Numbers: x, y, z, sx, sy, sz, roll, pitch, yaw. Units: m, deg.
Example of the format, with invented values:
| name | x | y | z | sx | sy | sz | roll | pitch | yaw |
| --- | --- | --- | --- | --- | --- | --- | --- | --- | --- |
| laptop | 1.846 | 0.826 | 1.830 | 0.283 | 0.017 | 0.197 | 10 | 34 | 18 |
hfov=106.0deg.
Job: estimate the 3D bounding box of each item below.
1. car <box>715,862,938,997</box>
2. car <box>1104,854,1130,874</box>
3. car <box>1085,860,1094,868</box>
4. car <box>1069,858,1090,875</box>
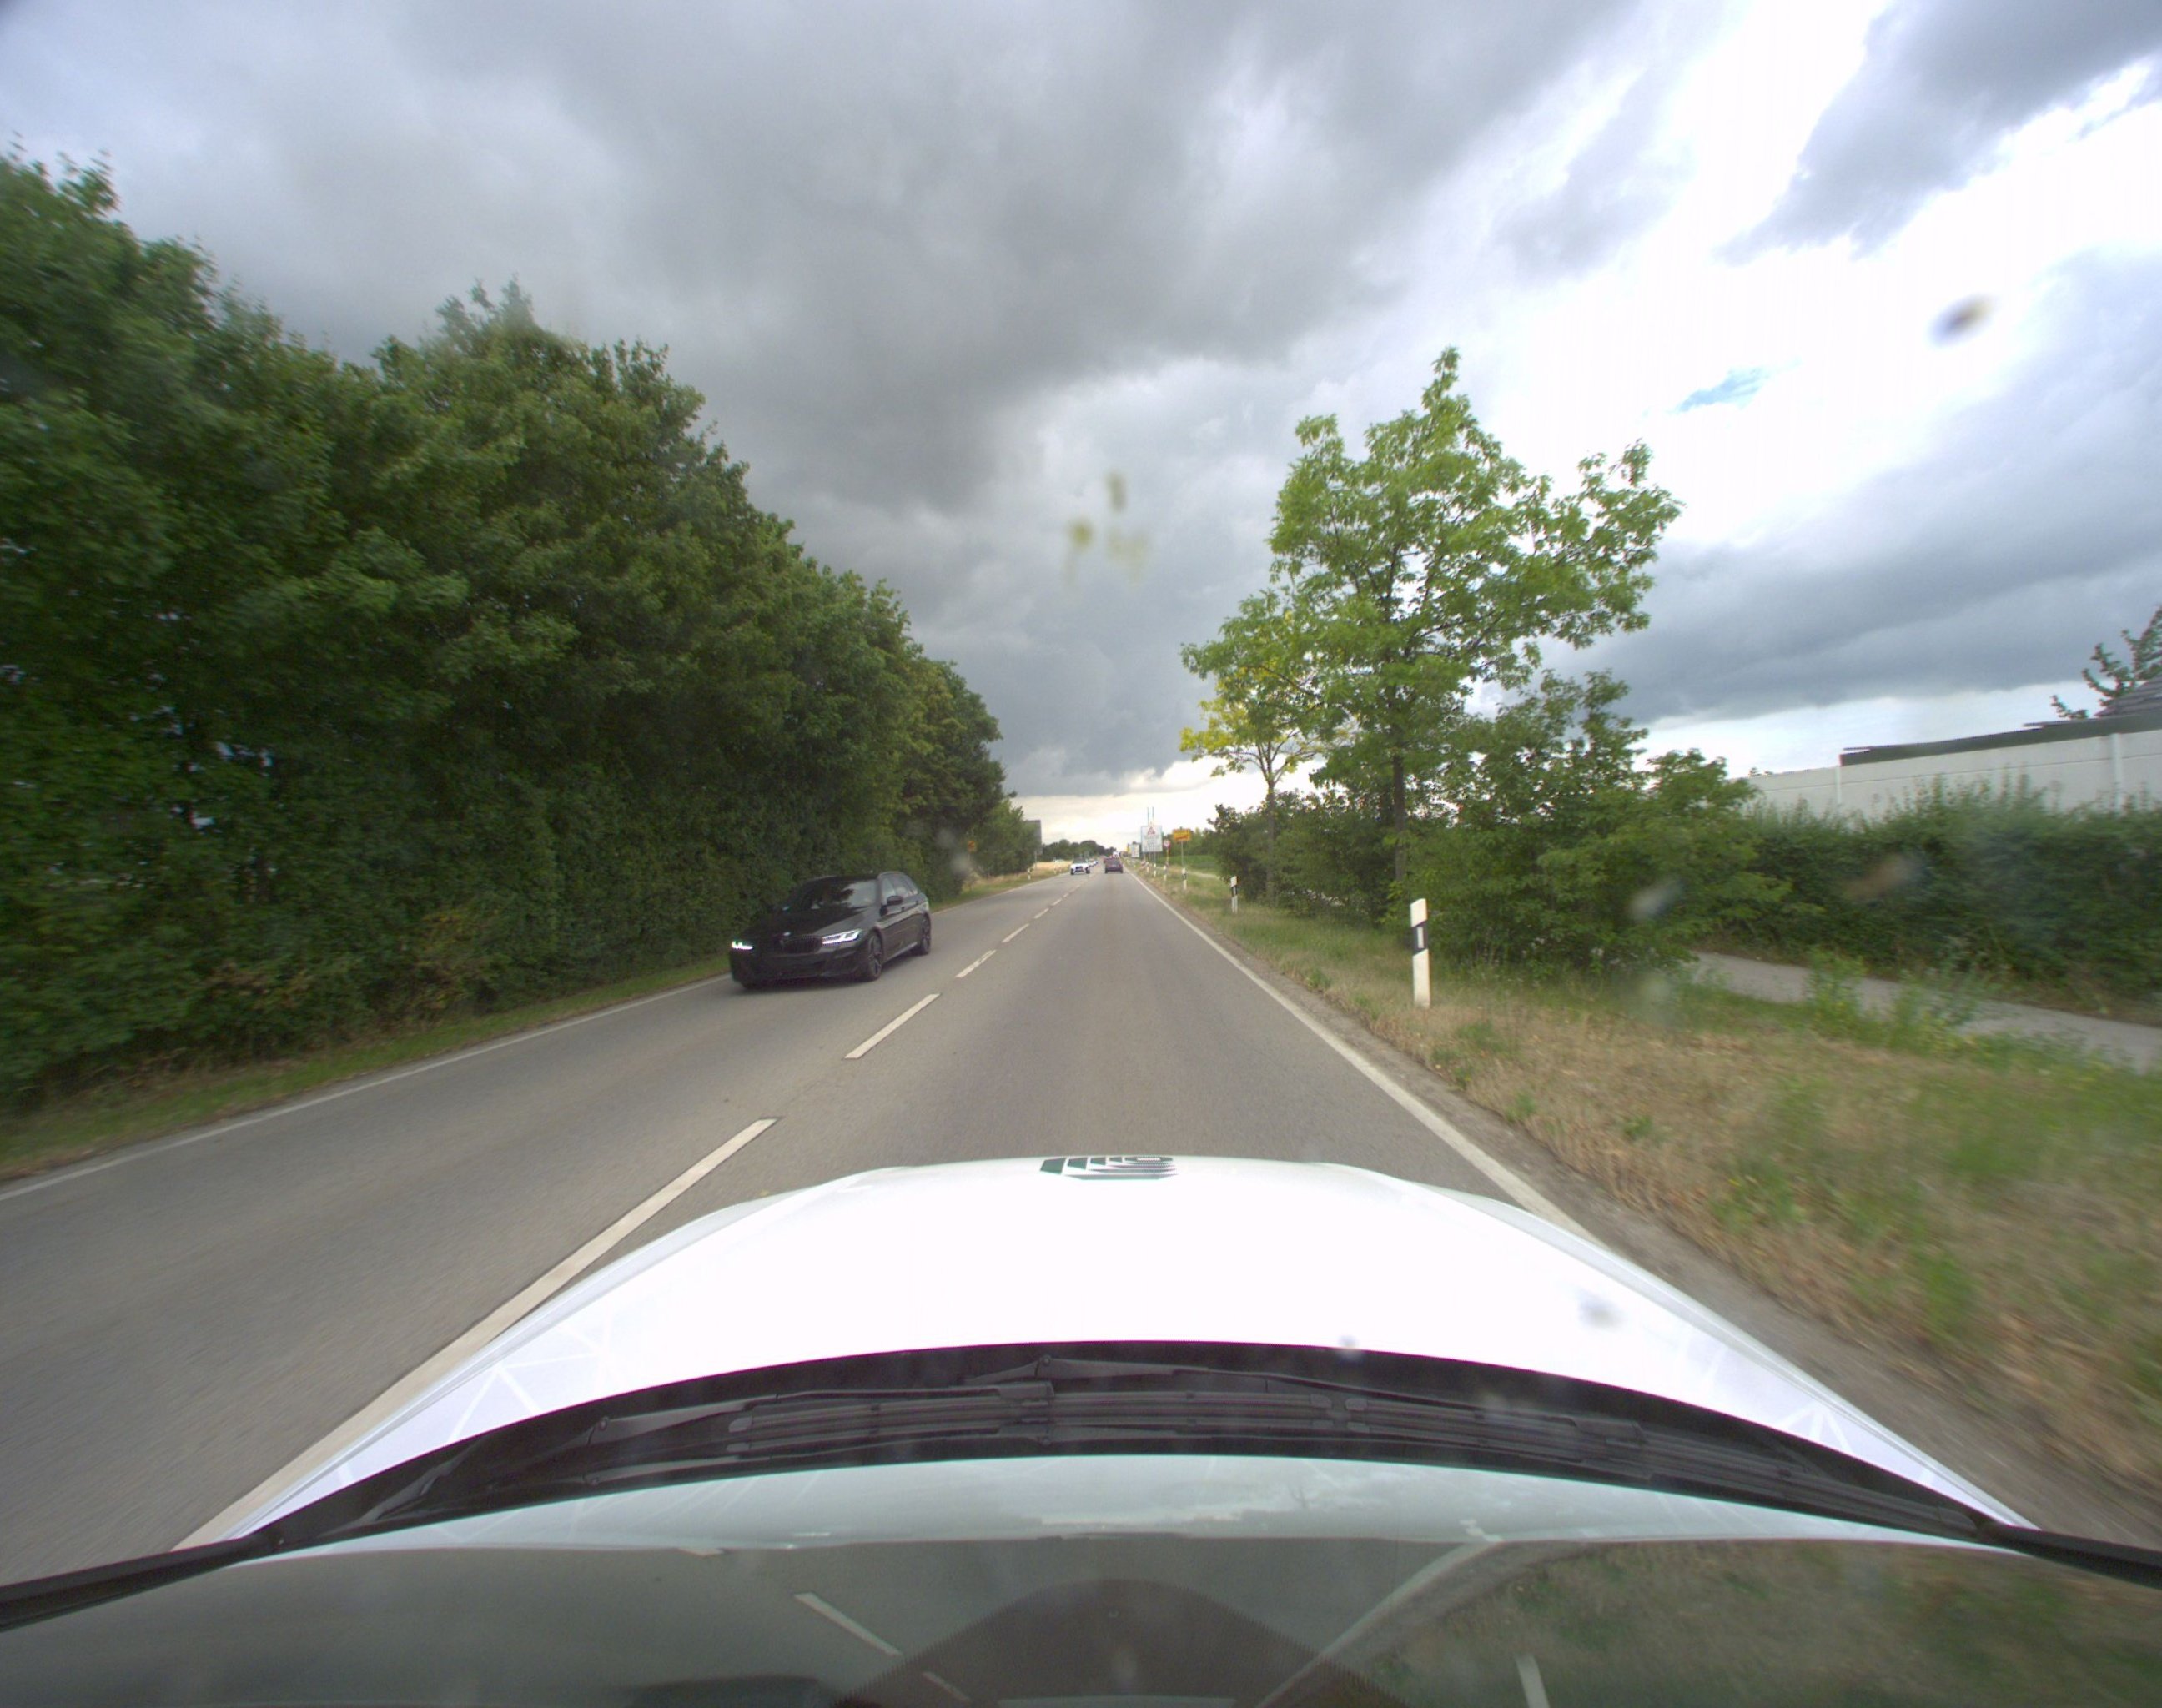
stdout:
| name | x | y | z | sx | sy | sz | roll | pitch | yaw |
| --- | --- | --- | --- | --- | --- | --- | --- | --- | --- |
| car | -3.642 | 0.985 | 12.659 | 1.934 | 1.586 | 4.555 | -4 | -1 | 0 |
| car | 3.614 | 1.034 | 83.126 | 2.364 | 1.880 | 4.477 | -4 | -1 | 0 |
| car | 1.692 | 1.913 | 160.163 | 1.722 | 1.363 | 3.952 | -3 | 0 | 2 |
| car | -0.119 | 1.284 | 86.899 | 1.986 | 1.684 | 4.812 | -3 | 0 | 2 |
